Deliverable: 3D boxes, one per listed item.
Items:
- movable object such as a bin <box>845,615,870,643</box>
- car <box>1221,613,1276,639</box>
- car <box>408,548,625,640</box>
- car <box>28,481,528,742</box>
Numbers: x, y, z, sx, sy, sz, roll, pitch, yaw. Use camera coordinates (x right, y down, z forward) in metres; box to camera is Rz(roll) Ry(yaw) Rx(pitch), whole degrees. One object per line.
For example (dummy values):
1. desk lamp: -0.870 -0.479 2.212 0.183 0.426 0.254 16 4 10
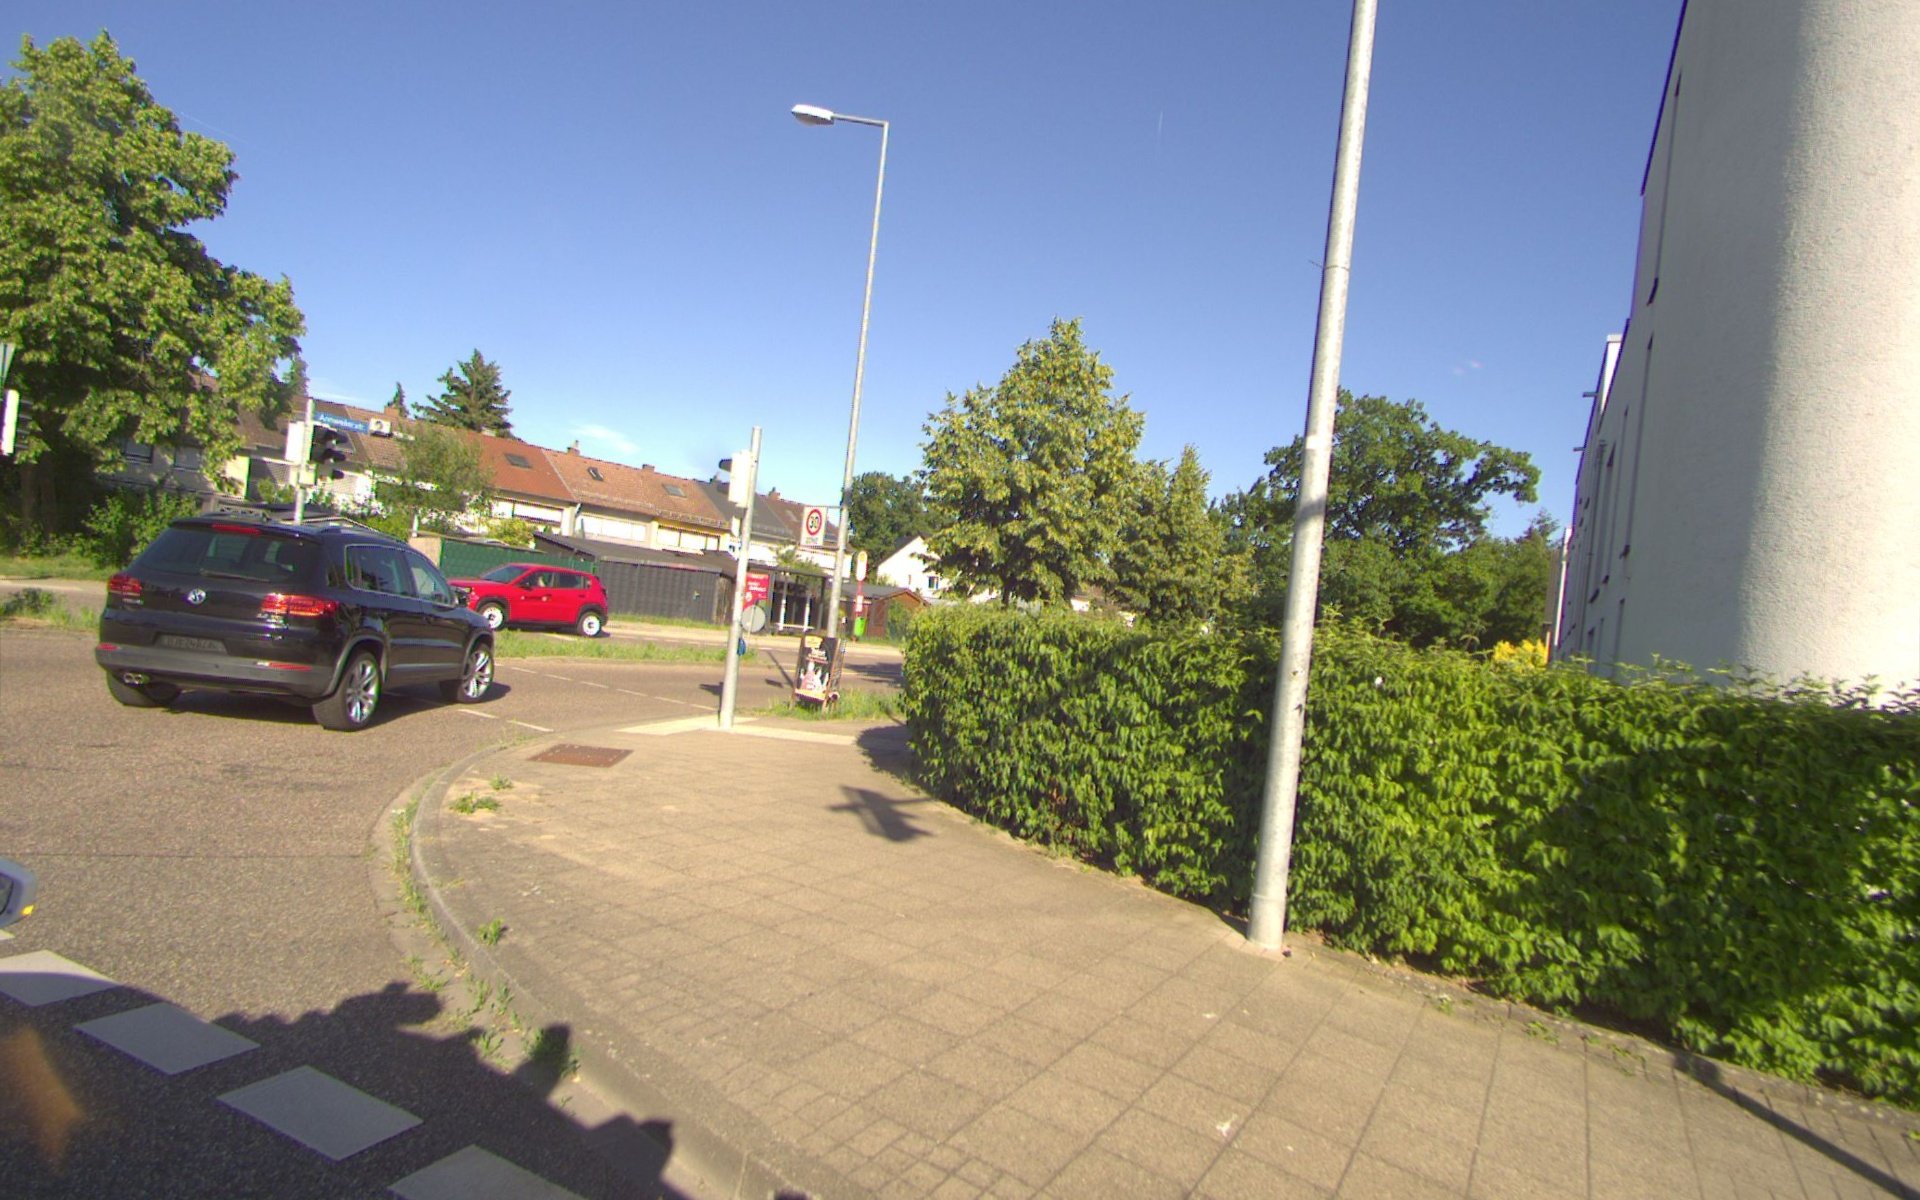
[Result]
1. movable object such as a bin: -4.015 1.145 39.447 0.585 0.980 0.556 11 3 36
2. car: 21.758 1.952 75.820 3.502 1.495 1.805 6 -1 32
3. car: -10.312 -0.087 23.660 1.916 1.607 4.169 7 -1 36
4. car: -5.965 0.150 9.667 1.902 1.673 4.512 8 -2 -6
